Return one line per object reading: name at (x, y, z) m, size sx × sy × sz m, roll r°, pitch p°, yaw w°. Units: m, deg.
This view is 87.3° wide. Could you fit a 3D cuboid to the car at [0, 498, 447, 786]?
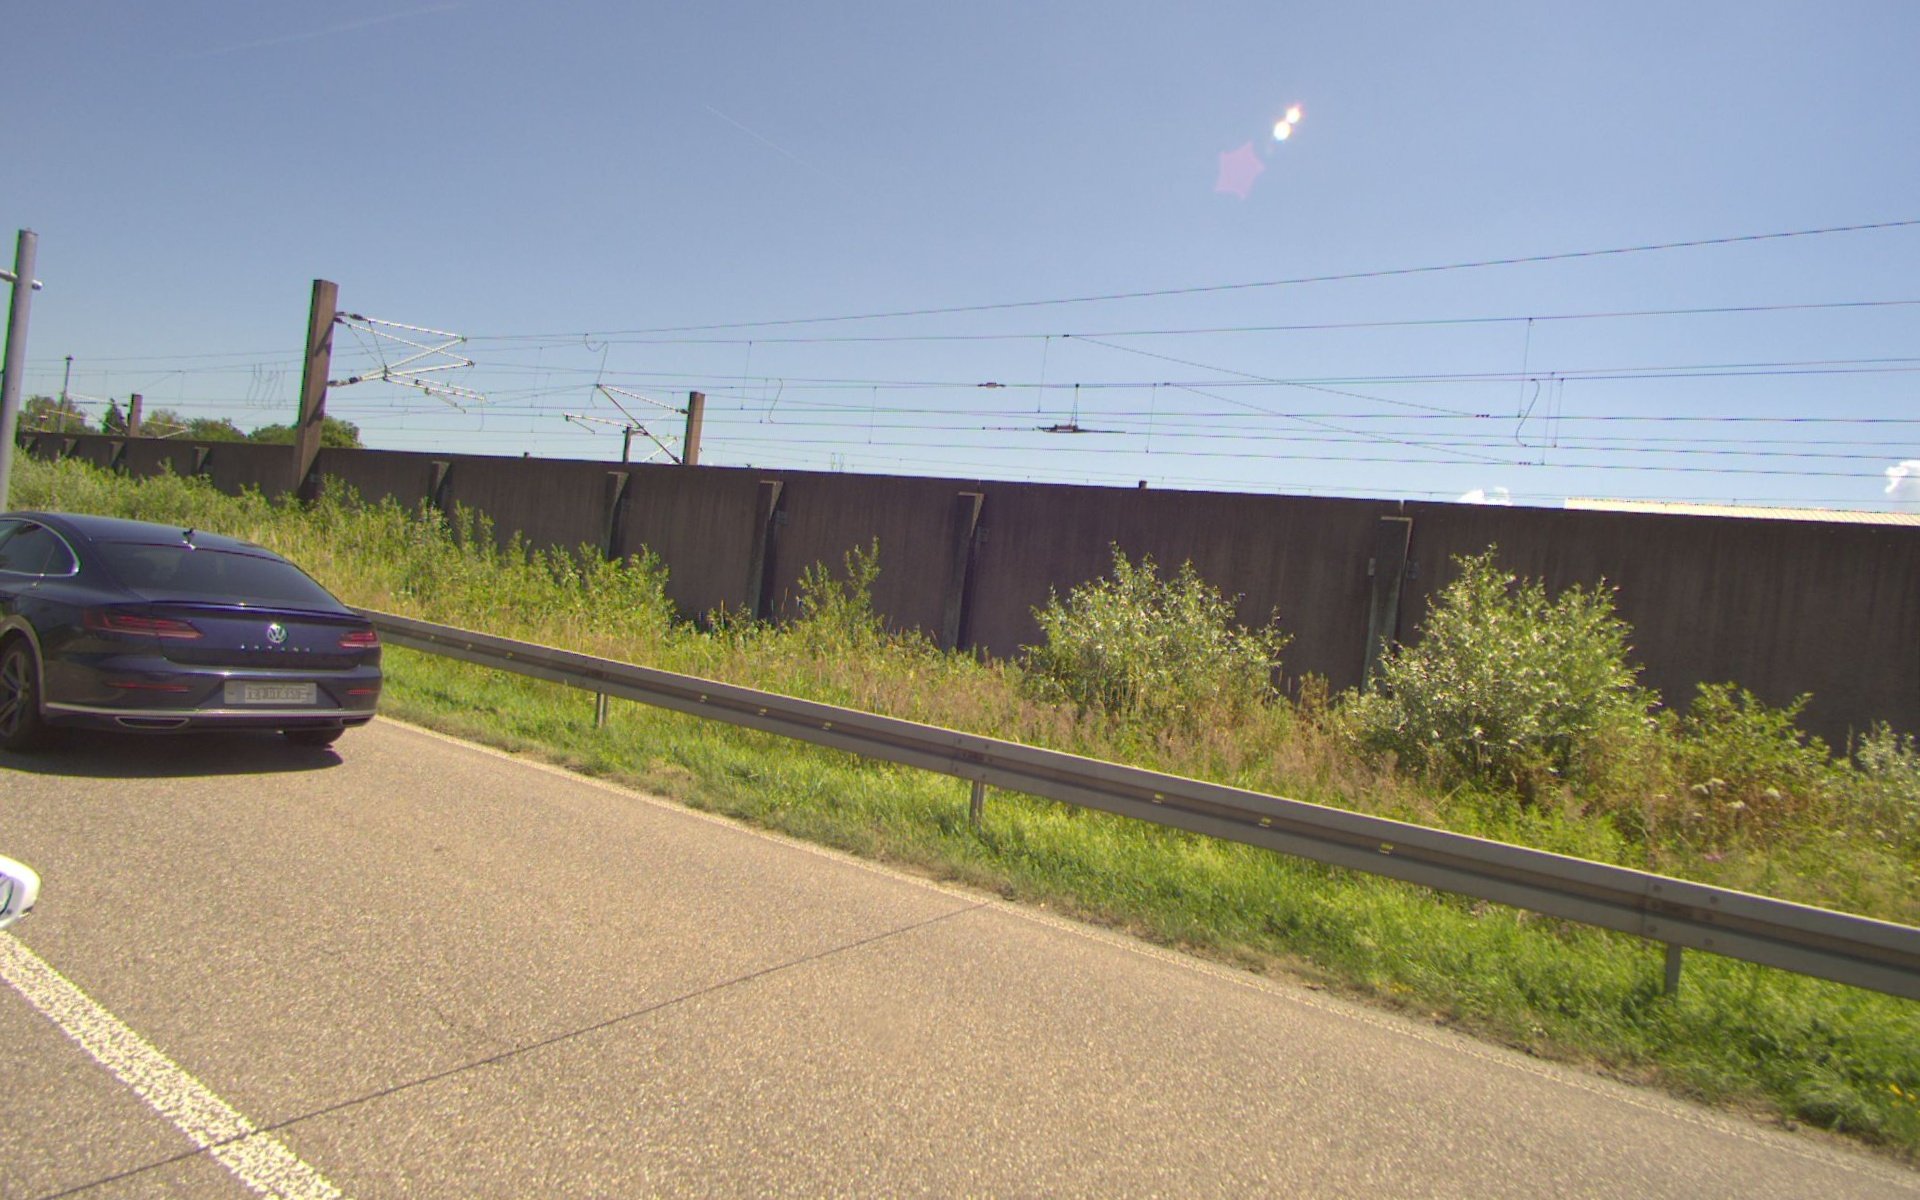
car at (-5.926, 0.124, 7.138) m, size 4.427 × 1.395 × 1.861 m, roll 7°, pitch -2°, yaw 30°
